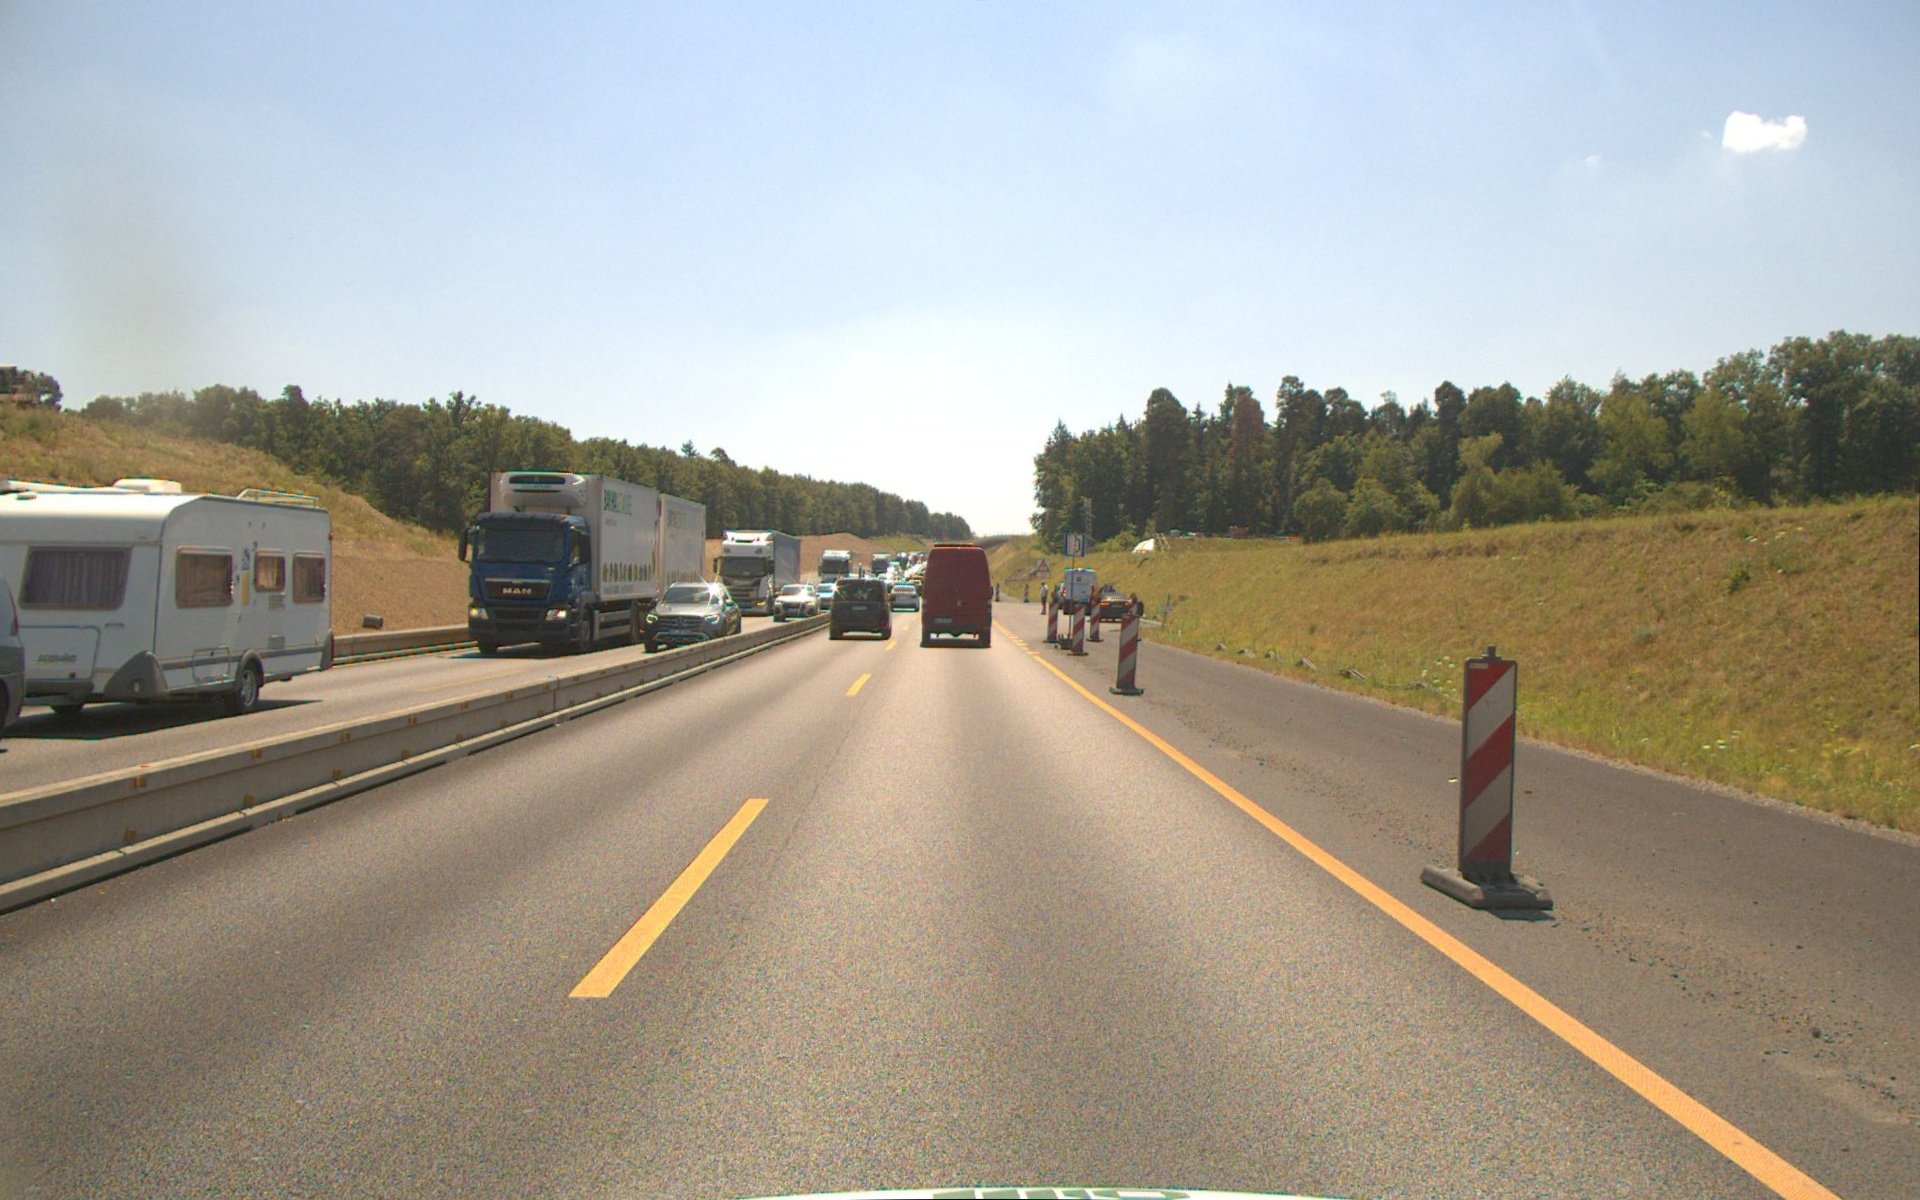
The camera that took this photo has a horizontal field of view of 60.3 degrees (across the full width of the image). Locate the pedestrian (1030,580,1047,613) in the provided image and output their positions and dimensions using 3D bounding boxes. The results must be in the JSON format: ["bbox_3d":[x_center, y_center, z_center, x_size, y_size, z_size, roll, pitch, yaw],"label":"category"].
[{"bbox_3d":[4.437,-0.194,93.453,0.714,1.860,0.714,1,-1,-26],"label":"pedestrian"}]

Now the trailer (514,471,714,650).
[{"bbox_3d":[-9.428,-0.990,47.361,2.451,4.252,15.533,-1,0,0],"label":"trailer"}]

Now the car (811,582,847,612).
[{"bbox_3d":[-7.118,-0.178,90.341,1.740,1.582,4.138,-1,1,-2],"label":"car"}]

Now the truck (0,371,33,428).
[{"bbox_3d":[-62.430,-13.045,108.015,2.277,2.797,8.794,1,-1,-36],"label":"truck"}]

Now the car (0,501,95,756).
[{"bbox_3d":[-9.231,0.233,13.350,1.953,2.193,4.864,0,0,-1],"label":"car"}]

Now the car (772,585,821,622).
[{"bbox_3d":[-6.974,0.165,70.869,1.771,1.514,4.242,1,0,-1],"label":"car"}]

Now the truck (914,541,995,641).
[{"bbox_3d":[-0.224,-0.221,46.991,2.109,2.635,5.331,1,0,-2],"label":"truck"}]

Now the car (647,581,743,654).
[{"bbox_3d":[-6.400,0.407,40.341,1.654,1.642,4.592,1,0,-1],"label":"car"}]

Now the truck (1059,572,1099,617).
[{"bbox_3d":[7.022,-0.360,97.128,2.084,2.499,5.930,1,1,6],"label":"truck"}]

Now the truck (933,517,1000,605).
[{"bbox_3d":[0.342,-2.535,116.102,4.310,5.592,16.600,1,0,-1],"label":"truck"}]

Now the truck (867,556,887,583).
[{"bbox_3d":[-12.251,-4.455,244.847,2.457,3.680,9.640,1,0,0],"label":"truck"}]

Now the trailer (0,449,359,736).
[{"bbox_3d":[-9.308,-0.079,19.195,2.264,2.733,6.754,-1,0,-1],"label":"trailer"}]

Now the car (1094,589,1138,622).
[{"bbox_3d":[7.398,0.225,78.869,1.620,1.451,4.545,-2,1,0],"label":"car"}]

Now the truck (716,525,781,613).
[{"bbox_3d":[-10.317,-1.477,81.101,2.539,4.124,5.148,1,0,-2],"label":"truck"}]

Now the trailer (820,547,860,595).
[{"bbox_3d":[-10.779,-2.581,149.585,2.734,4.146,13.709,1,1,-1],"label":"trailer"}]

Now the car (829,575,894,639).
[{"bbox_3d":[-3.011,0.181,51.316,1.716,1.856,4.782,1,1,-1],"label":"car"}]

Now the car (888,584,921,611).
[{"bbox_3d":[-3.223,-0.137,96.239,1.794,1.548,3.960,1,0,-1],"label":"car"}]

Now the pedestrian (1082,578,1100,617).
[{"bbox_3d":[6.202,-0.126,78.518,0.631,1.860,0.555,1,1,-22],"label":"pedestrian"}]

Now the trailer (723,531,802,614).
[{"bbox_3d":[-10.381,-1.398,88.199,2.599,4.007,13.994,1,0,-1],"label":"trailer"}]

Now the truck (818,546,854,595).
[{"bbox_3d":[-10.654,-2.498,142.597,2.712,4.114,4.943,1,0,0],"label":"truck"}]

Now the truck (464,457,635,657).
[{"bbox_3d":[-9.417,-0.944,38.536,2.440,4.272,5.911,-1,0,0],"label":"truck"}]
